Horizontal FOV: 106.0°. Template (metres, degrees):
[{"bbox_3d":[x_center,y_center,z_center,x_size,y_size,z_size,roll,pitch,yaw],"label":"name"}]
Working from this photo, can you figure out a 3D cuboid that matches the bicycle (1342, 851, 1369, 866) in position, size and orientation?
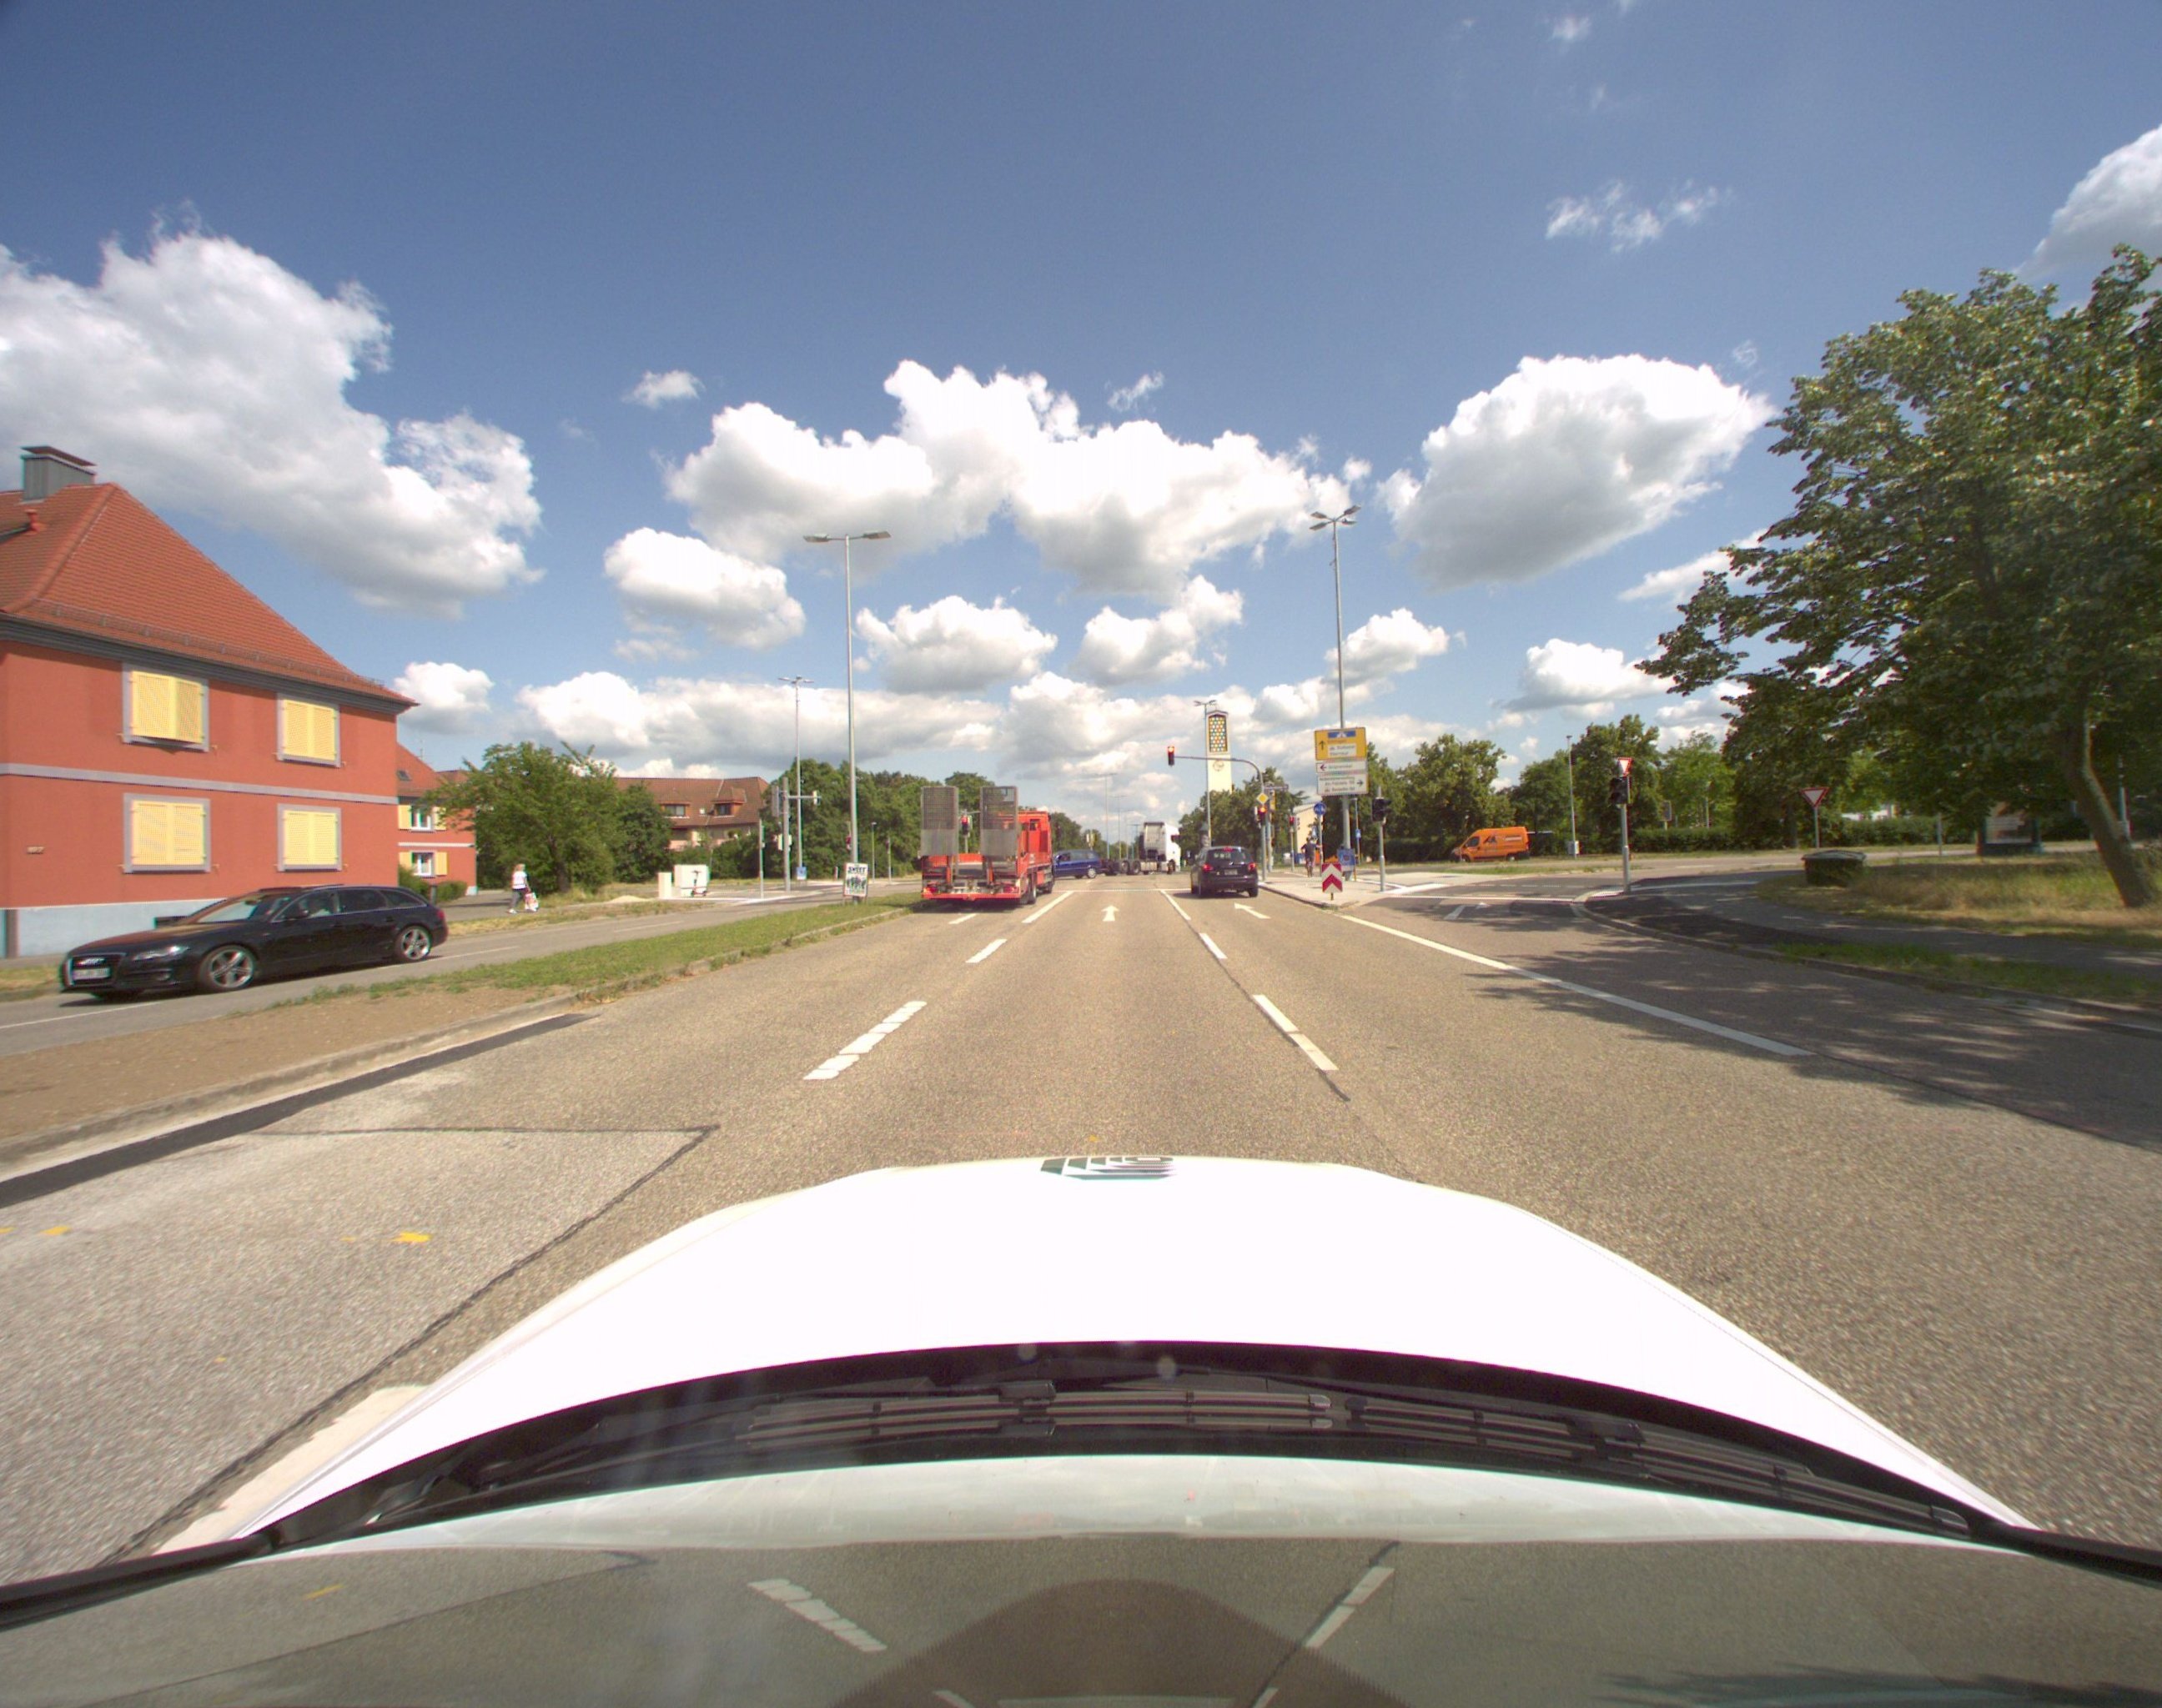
[{"bbox_3d":[21.892,0.353,65.000,1.980,1.093,0.689,-2,-1,21],"label":"bicycle"}]

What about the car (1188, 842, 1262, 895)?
[{"bbox_3d":[4.501,0.470,25.928,1.792,1.552,4.002,0,-1,2],"label":"car"}]

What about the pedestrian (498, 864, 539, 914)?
[{"bbox_3d":[-18.169,1.110,26.336,0.693,1.583,0.851,0,-1,2],"label":"pedestrian"}]

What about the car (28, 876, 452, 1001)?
[{"bbox_3d":[-12.512,1.141,12.688,1.765,1.438,4.576,-3,-1,1],"label":"car"}]

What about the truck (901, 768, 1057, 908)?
[{"bbox_3d":[-2.665,-0.306,25.493,3.059,3.414,11.073,0,-1,2],"label":"truck"}]

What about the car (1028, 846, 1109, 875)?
[{"bbox_3d":[-0.662,0.375,45.567,4.231,1.574,1.835,1,-1,-36],"label":"car"}]

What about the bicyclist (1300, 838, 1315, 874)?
[{"bbox_3d":[10.539,0.084,37.893,0.643,1.661,0.653,0,-1,18],"label":"bicyclist"}]

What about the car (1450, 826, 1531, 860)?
[{"bbox_3d":[27.715,-0.721,55.219,4.799,2.226,2.225,0,-1,27],"label":"car"}]

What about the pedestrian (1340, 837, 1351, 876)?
[{"bbox_3d":[12.130,0.121,37.341,0.461,1.779,0.484,0,-1,13],"label":"pedestrian"}]

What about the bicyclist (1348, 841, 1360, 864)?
[{"bbox_3d":[21.789,-0.087,65.038,0.780,1.804,0.689,-2,-1,21],"label":"bicyclist"}]

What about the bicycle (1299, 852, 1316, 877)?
[{"bbox_3d":[10.597,0.499,38.071,0.643,1.108,1.937,0,-1,18],"label":"bicycle"}]

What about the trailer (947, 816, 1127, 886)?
[{"bbox_3d":[-2.555,-0.270,51.530,11.376,4.012,3.590,-1,0,-39],"label":"trailer"}]

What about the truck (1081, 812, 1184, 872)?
[{"bbox_3d":[3.865,-0.827,58.487,2.931,3.970,8.693,-1,0,38],"label":"truck"}]

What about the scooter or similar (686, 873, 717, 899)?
[{"bbox_3d":[-17.958,1.500,38.537,0.587,1.164,1.762,0,-1,2],"label":"scooter or similar"}]
